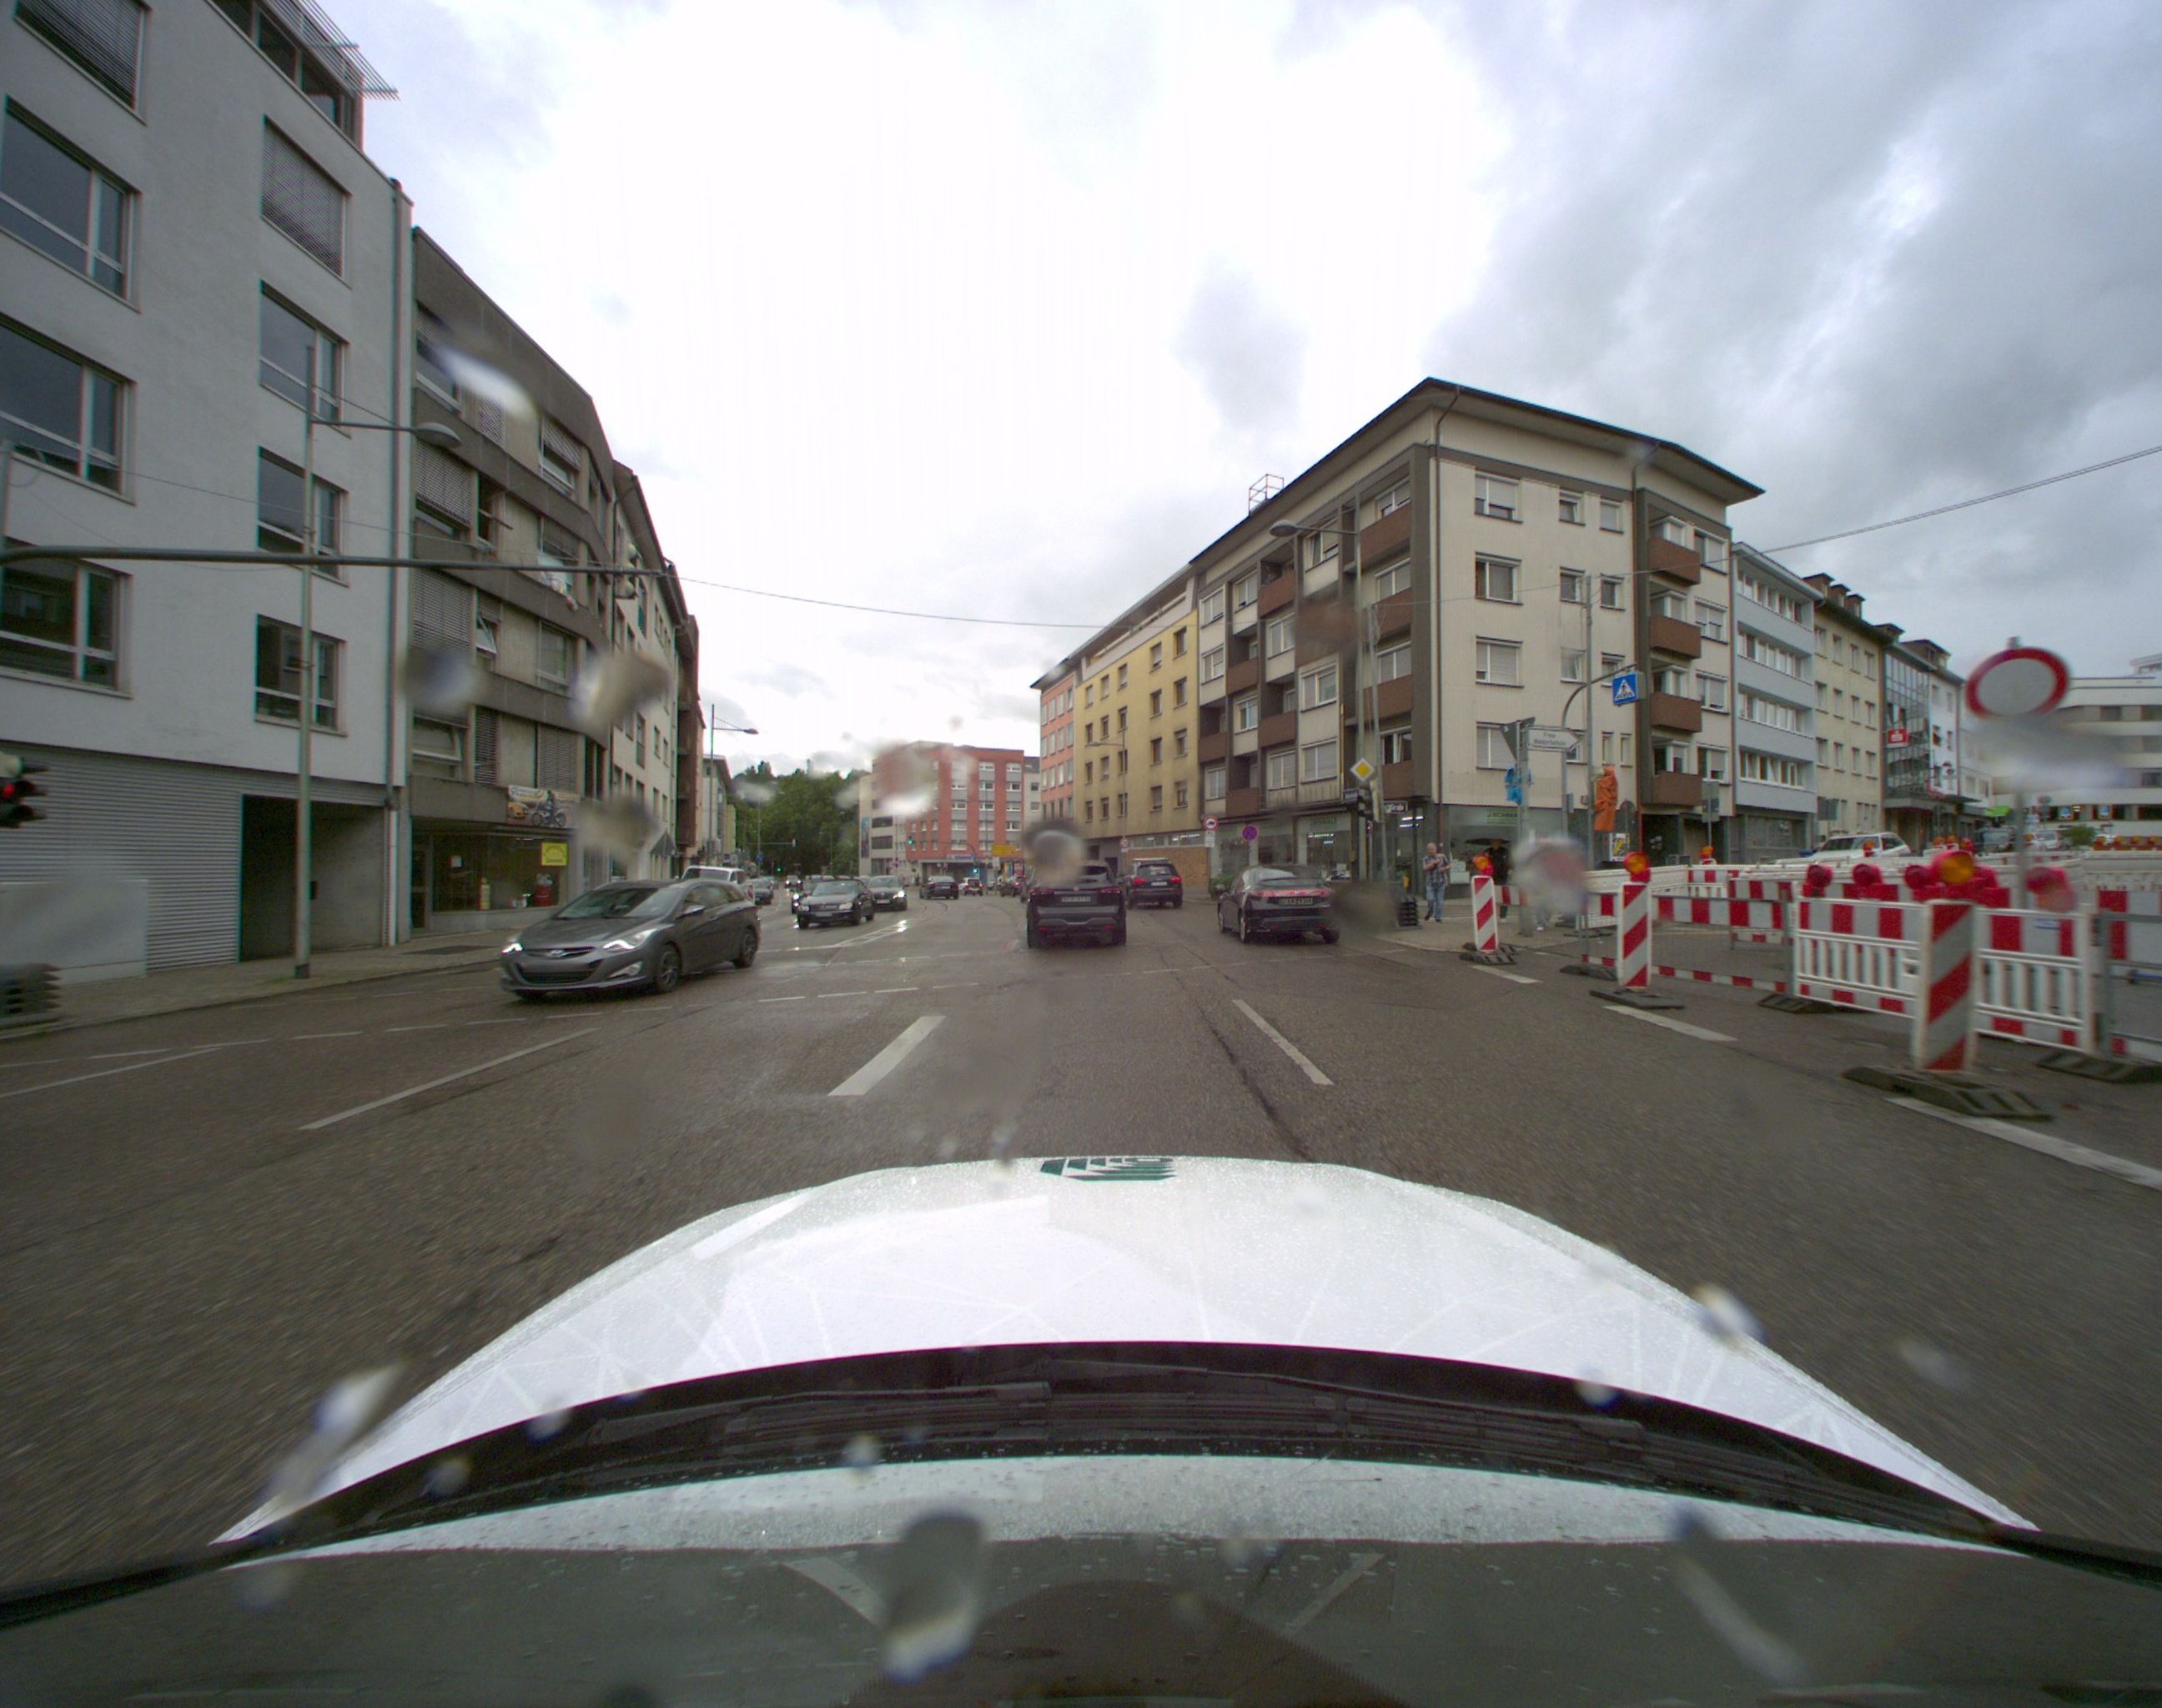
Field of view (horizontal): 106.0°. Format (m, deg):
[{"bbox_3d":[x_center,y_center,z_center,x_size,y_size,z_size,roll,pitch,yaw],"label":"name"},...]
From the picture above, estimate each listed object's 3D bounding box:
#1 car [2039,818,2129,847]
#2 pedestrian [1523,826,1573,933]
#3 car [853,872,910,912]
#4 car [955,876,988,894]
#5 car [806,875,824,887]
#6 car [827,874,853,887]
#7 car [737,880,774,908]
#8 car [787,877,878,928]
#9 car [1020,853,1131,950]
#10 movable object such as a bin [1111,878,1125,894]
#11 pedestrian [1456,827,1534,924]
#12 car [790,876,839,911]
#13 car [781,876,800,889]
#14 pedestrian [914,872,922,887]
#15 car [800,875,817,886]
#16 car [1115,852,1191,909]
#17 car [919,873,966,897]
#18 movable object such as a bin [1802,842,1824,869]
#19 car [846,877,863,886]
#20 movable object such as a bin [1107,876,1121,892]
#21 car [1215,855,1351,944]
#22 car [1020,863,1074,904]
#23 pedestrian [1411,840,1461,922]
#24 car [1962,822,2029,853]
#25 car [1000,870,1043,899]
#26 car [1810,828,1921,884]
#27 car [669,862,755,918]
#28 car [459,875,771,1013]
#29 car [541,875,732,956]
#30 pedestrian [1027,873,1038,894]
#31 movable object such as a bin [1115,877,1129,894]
[{"bbox_3d":[78.766,-1.638,64.000,2.002,2.014,4.063,2,-2,-24],"label":"car"},{"bbox_3d":[8.578,0.475,14.954,0.649,1.880,1.000,-4,-3,32],"label":"pedestrian"},{"bbox_3d":[-8.188,1.526,33.763,1.984,1.459,4.469,-2,-1,-11],"label":"car"},{"bbox_3d":[-9.543,2.657,70.829,2.000,1.486,3.972,2,-2,-21],"label":"car"},{"bbox_3d":[-35.319,3.598,108.108,1.829,1.608,4.394,0,-2,-24],"label":"car"},{"bbox_3d":[-28.710,3.173,97.003,1.868,1.553,4.183,0,-2,-32],"label":"car"},{"bbox_3d":[-19.524,2.348,48.754,1.891,1.477,4.939,-1,-1,-24],"label":"car"},{"bbox_3d":[-7.544,1.430,25.186,1.822,1.366,4.592,-2,-2,-6],"label":"car"},{"bbox_3d":[-0.176,0.854,16.125,1.890,1.629,3.996,-1,-1,-3],"label":"car"},{"bbox_3d":[2.413,2.078,53.042,0.683,1.077,0.663,0,-2,-22],"label":"movable object such as a bin"},{"bbox_3d":[8.270,0.436,16.290,0.924,1.861,1.019,0,-4,-41],"label":"pedestrian"},{"bbox_3d":[-11.723,1.700,35.995,1.724,1.399,3.578,-2,-1,-13],"label":"car"},{"bbox_3d":[-38.531,3.734,108.016,1.872,1.647,4.217,-1,-2,-25],"label":"car"},{"bbox_3d":[-22.531,3.521,112.602,0.829,2.159,0.764,2,-2,-23],"label":"pedestrian"},{"bbox_3d":[-38.817,3.816,115.862,1.830,1.434,4.361,0,-2,-25],"label":"car"},{"bbox_3d":[2.577,0.966,30.460,2.017,1.869,4.892,-2,-1,-4],"label":"car"},{"bbox_3d":[-8.450,1.863,49.417,2.000,1.388,4.468,2,-2,-20],"label":"car"},{"bbox_3d":[29.754,0.072,33.108,0.540,1.048,0.526,3,-2,-31],"label":"movable object such as a bin"},{"bbox_3d":[-36.524,4.393,131.203,1.725,1.442,4.044,-2,0,-28],"label":"car"},{"bbox_3d":[2.164,1.976,53.680,0.683,1.077,0.663,0,-2,-22],"label":"movable object such as a bin"},{"bbox_3d":[3.817,0.822,16.074,1.777,1.497,4.058,-1,-1,2],"label":"car"},{"bbox_3d":[-1.630,1.319,37.552,1.945,1.685,3.987,-2,-1,-9],"label":"car"},{"bbox_3d":[7.578,0.574,17.421,0.786,1.688,0.824,-3,-3,15],"label":"pedestrian"},{"bbox_3d":[50.344,-0.903,44.825,4.016,1.603,1.907,-2,0,-34],"label":"car"},{"bbox_3d":[-4.181,2.110,56.848,1.952,1.816,3.973,-2,-1,-20],"label":"car"},{"bbox_3d":[27.691,0.050,28.706,4.820,1.720,1.978,-2,-2,-36],"label":"car"},{"bbox_3d":[-14.671,1.468,32.682,2.121,2.015,5.103,2,-3,-14],"label":"car"},{"bbox_3d":[-6.140,1.068,11.517,1.848,1.474,4.643,-2,-1,-2],"label":"car"},{"bbox_3d":[-9.799,1.268,18.455,1.924,1.474,4.598,-3,-1,-3],"label":"car"},{"bbox_3d":[-4.264,2.586,71.977,0.674,1.788,1.088,1,-2,-18],"label":"pedestrian"},{"bbox_3d":[2.655,2.008,52.412,0.683,1.077,0.663,0,-2,-22],"label":"movable object such as a bin"}]
